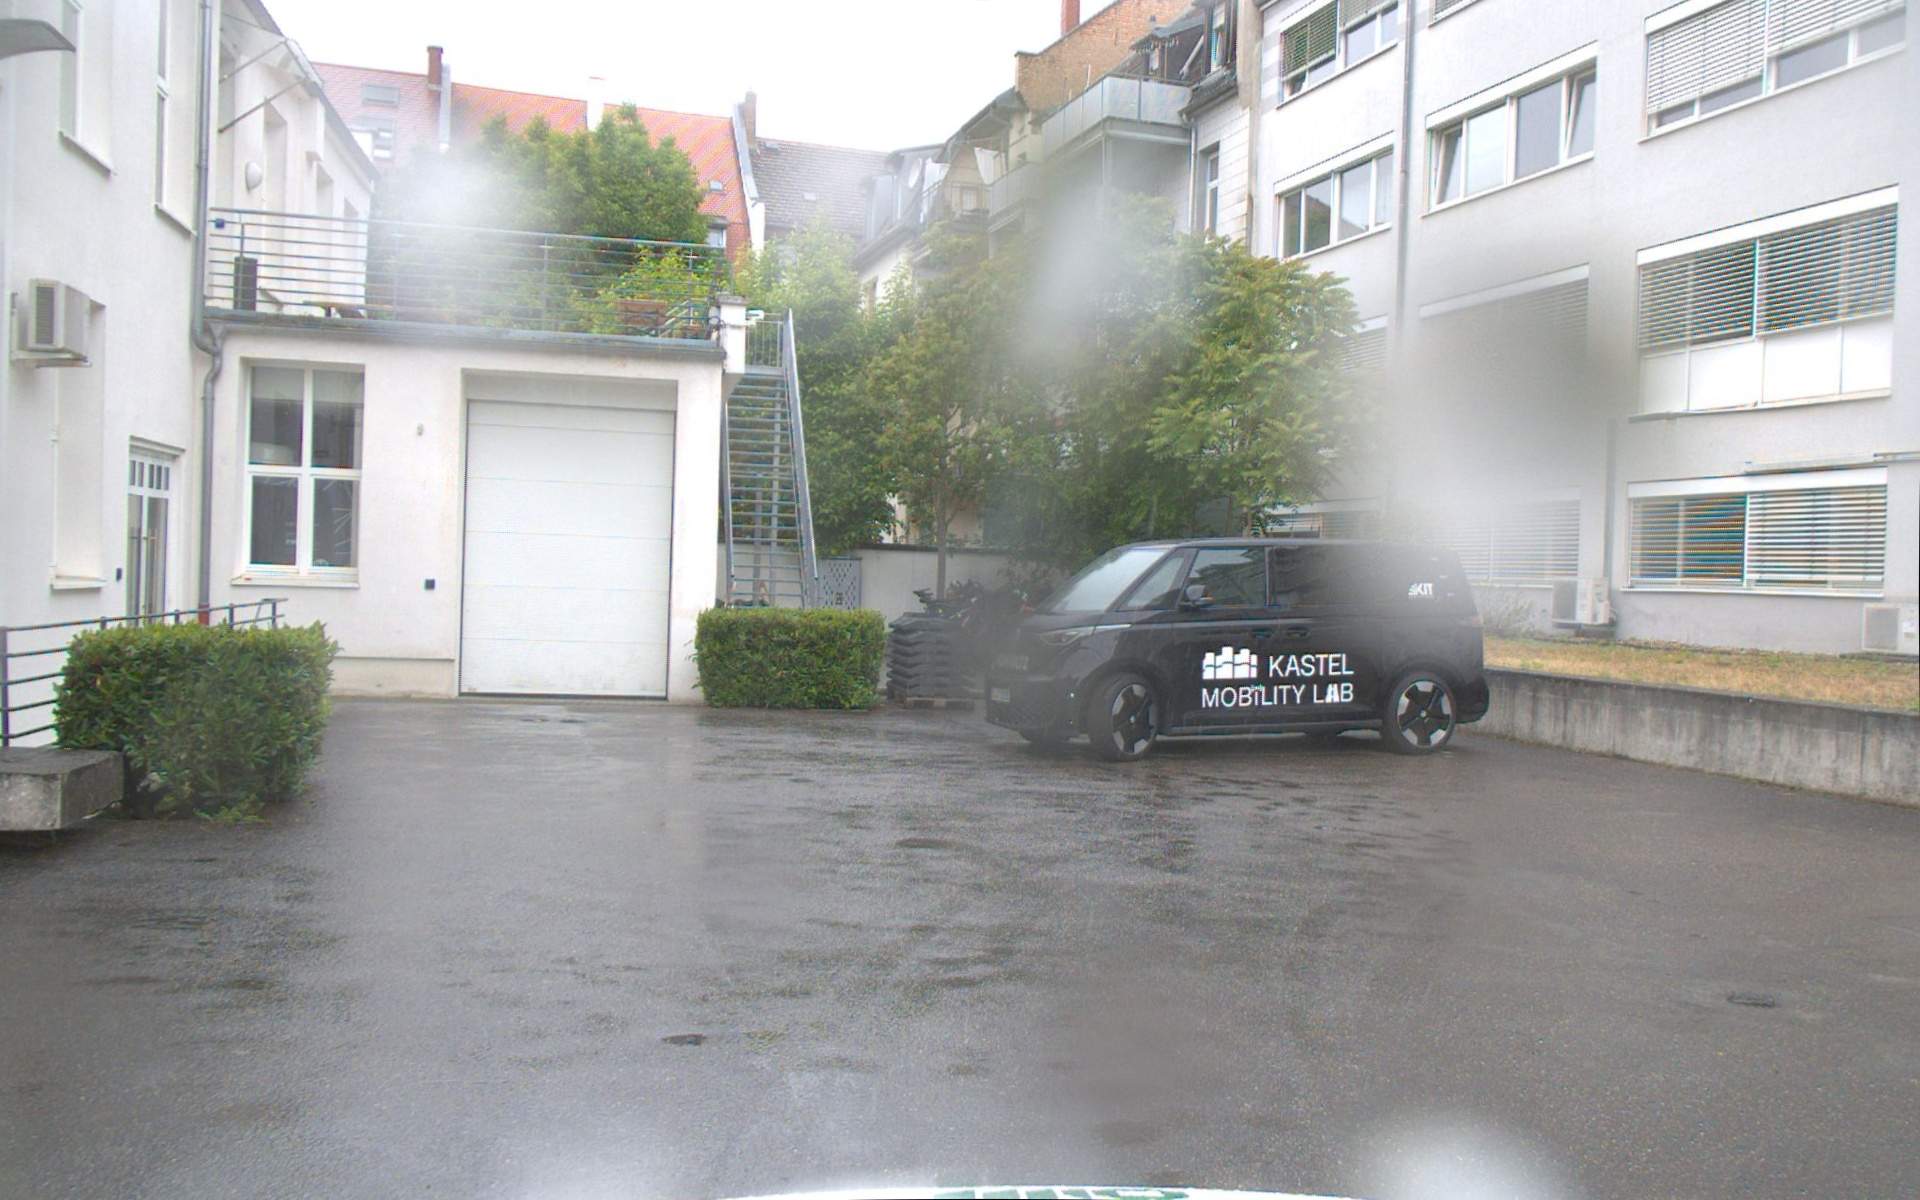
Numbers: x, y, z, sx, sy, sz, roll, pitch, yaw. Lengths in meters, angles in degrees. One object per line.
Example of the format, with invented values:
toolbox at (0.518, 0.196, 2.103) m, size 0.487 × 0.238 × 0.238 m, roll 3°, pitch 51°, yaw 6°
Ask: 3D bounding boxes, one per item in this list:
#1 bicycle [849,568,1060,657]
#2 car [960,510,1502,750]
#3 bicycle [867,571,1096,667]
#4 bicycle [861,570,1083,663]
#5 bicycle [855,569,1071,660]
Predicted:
bicycle at (-0.080, 0.198, 25.360) m, size 3.160 × 1.263 × 0.628 m, roll 2°, pitch 0°, yaw -15°
car at (2.440, 0.277, 15.057) m, size 4.441 × 1.930 × 2.035 m, roll 1°, pitch 0°, yaw -20°
bicycle at (0.313, 0.272, 23.378) m, size 3.160 × 1.263 × 0.628 m, roll 2°, pitch 0°, yaw -15°
bicycle at (0.184, 0.246, 24.065) m, size 3.160 × 1.263 × 0.628 m, roll 2°, pitch 0°, yaw -15°
bicycle at (0.053, 0.222, 24.723) m, size 3.160 × 1.263 × 0.628 m, roll 2°, pitch 0°, yaw -15°
